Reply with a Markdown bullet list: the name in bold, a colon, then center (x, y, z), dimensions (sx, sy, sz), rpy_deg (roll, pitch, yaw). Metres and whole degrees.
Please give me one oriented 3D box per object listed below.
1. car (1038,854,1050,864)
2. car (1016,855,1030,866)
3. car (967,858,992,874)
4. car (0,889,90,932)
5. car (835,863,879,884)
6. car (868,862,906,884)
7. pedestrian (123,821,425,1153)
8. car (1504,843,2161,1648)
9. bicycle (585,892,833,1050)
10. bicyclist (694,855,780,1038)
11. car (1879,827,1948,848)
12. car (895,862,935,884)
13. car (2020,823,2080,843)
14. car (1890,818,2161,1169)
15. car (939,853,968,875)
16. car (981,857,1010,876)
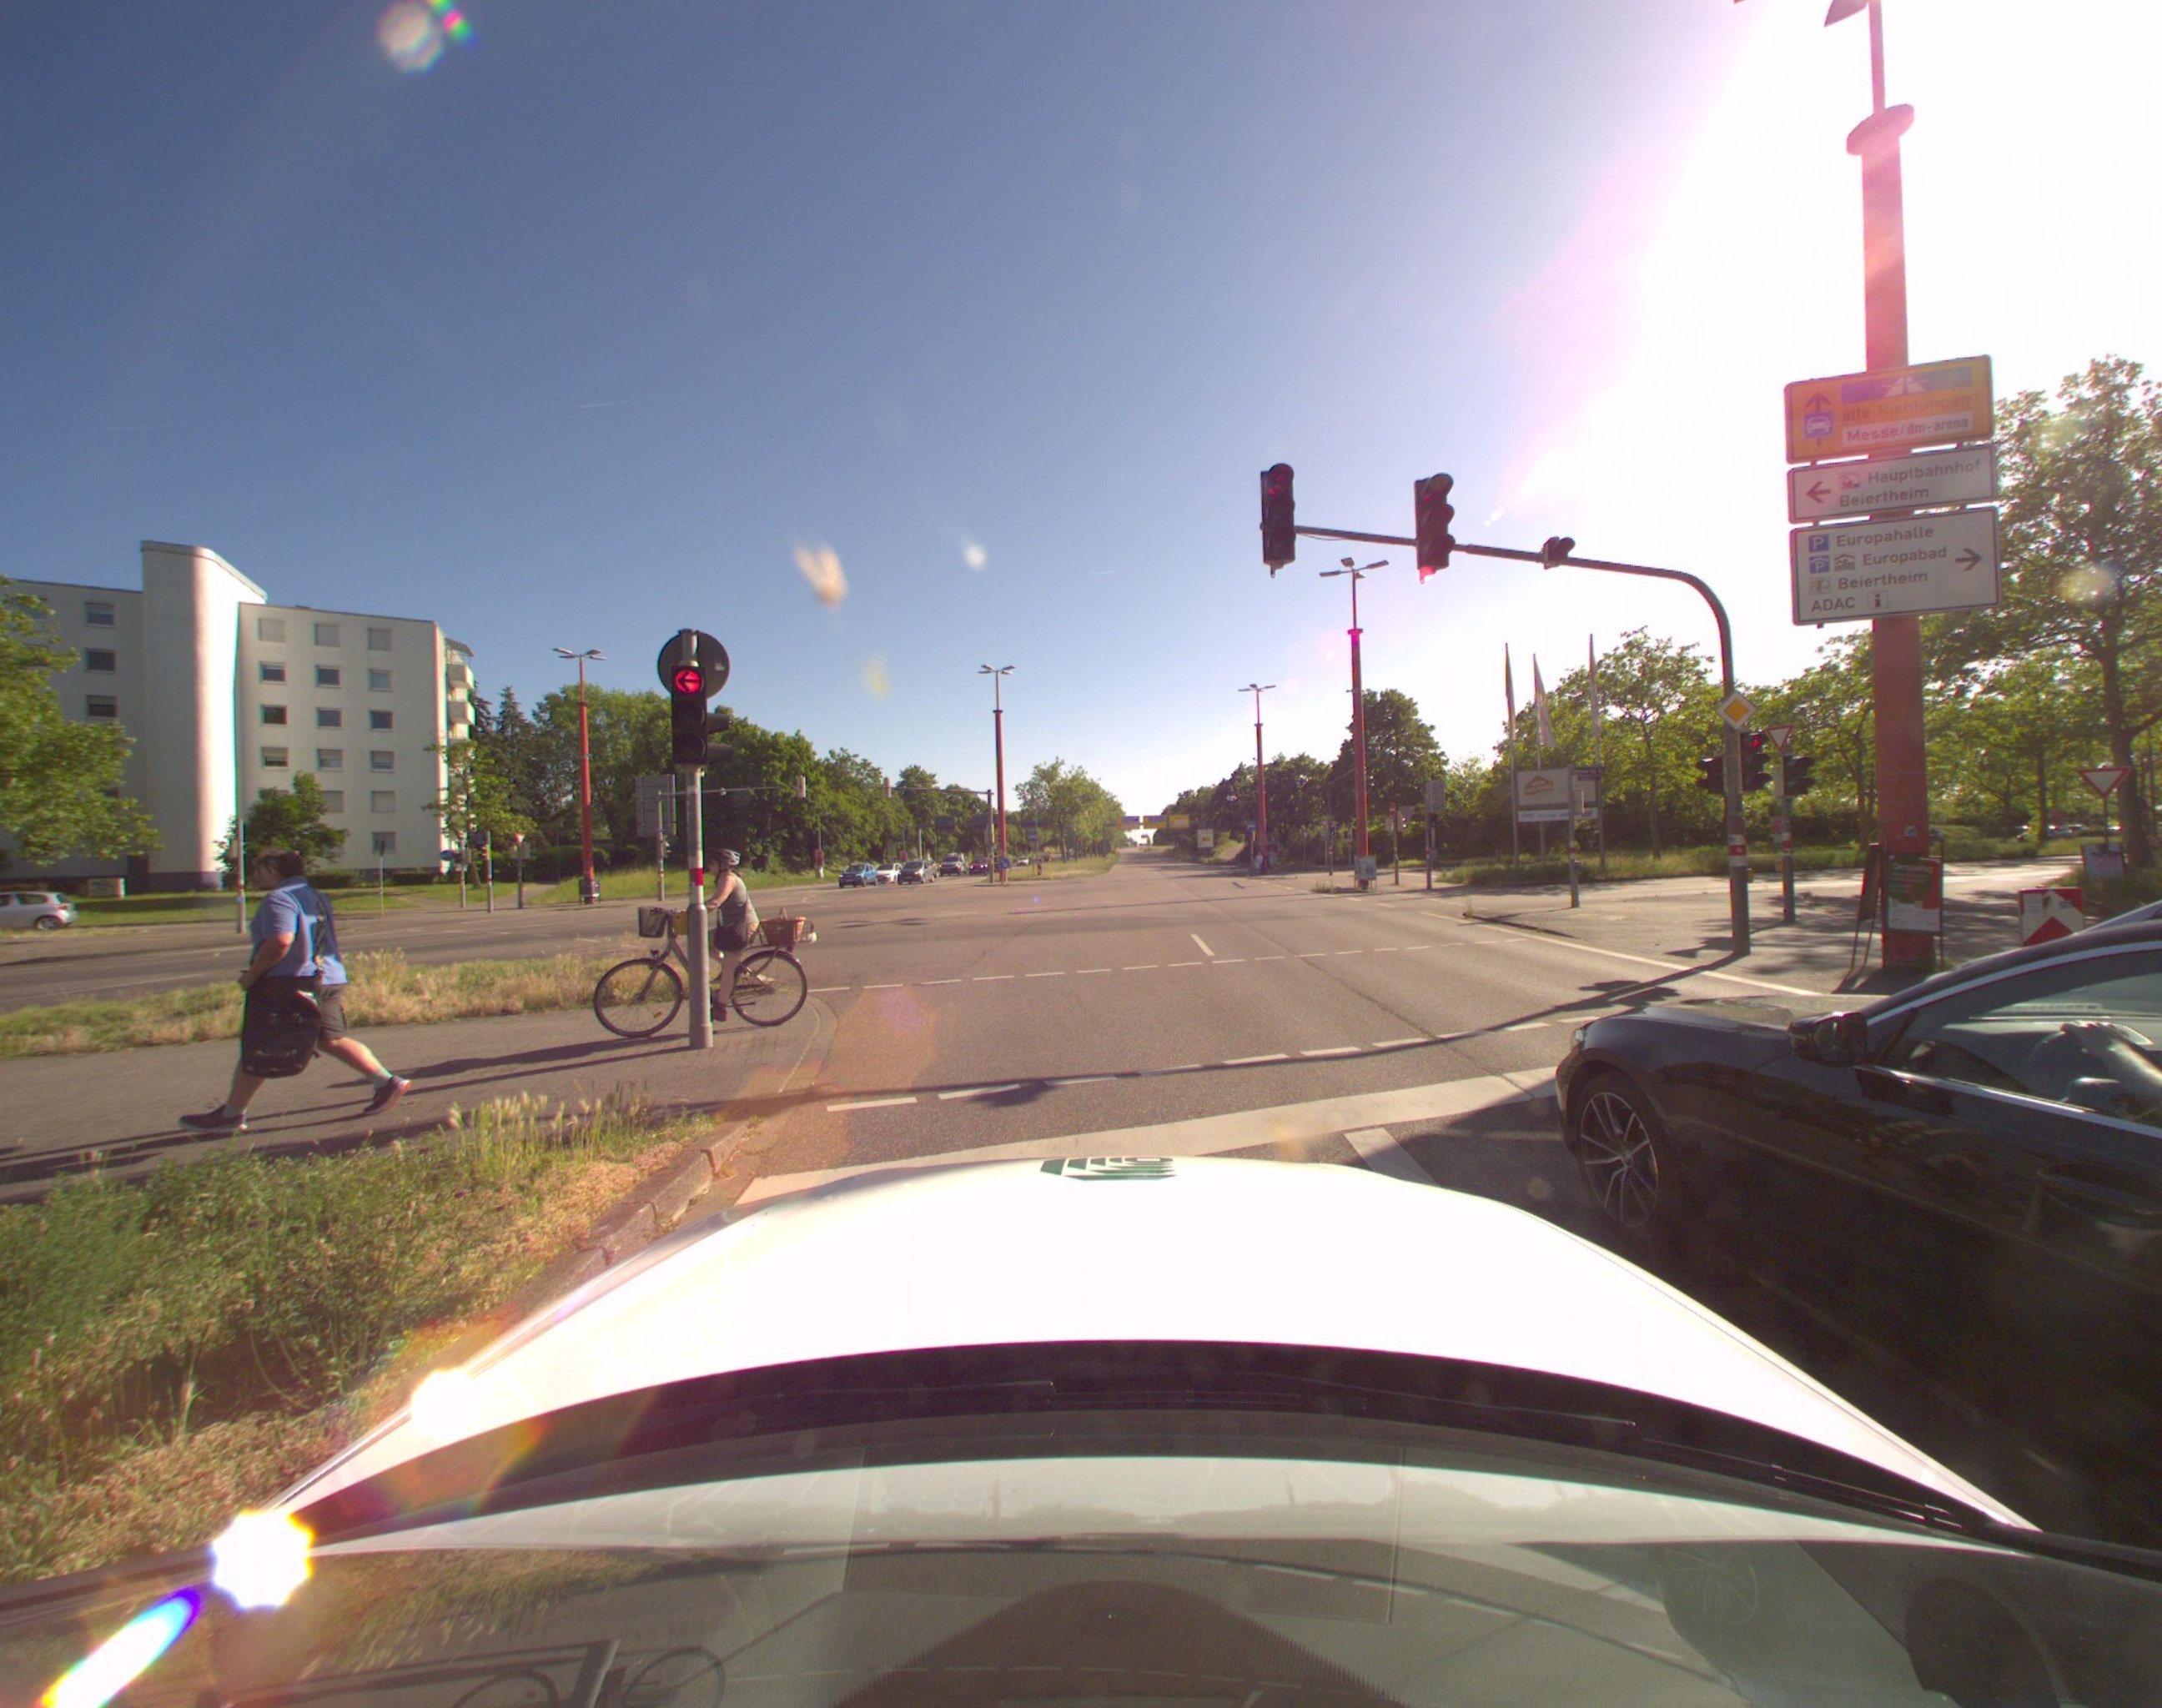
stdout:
- **car**: center (-6.483, 0.925, 142.393), dimensions (1.812, 1.629, 4.002), rpy_deg (-2, 0, 2)
- **car**: center (-9.401, 0.991, 131.421), dimensions (1.791, 1.640, 4.002), rpy_deg (-2, 0, 2)
- **car**: center (-9.146, 1.092, 73.567), dimensions (1.733, 1.362, 3.613), rpy_deg (-2, 0, 1)
- **car**: center (-39.090, 2.082, 29.405), dimensions (1.734, 1.398, 4.024), rpy_deg (-2, 0, 44)
- **car**: center (-14.094, 1.210, 51.417), dimensions (1.733, 1.243, 3.613), rpy_deg (-2, 0, 1)
- **car**: center (-13.677, 1.317, 57.526), dimensions (1.733, 1.411, 3.613), rpy_deg (-2, 0, 1)
- **pedestrian**: center (-4.887, 0.720, 5.047), dimensions (0.988, 1.794, 0.948), rpy_deg (-1, 0, -20)
- **car**: center (2.843, 0.687, 1.605), dimensions (1.862, 1.398, 4.446), rpy_deg (-2, 0, 3)
- **bicycle**: center (-3.354, 1.003, 7.468), dimensions (1.952, 1.195, 0.686), rpy_deg (-2, 0, -26)
- **bicyclist**: center (-3.196, 0.812, 7.553), dimensions (0.664, 1.584, 0.667), rpy_deg (-2, 0, -26)
- **car**: center (63.651, -1.271, 62.261), dimensions (4.322, 1.485, 1.776), rpy_deg (-2, 0, -15)
- **car**: center (-10.610, 1.187, 52.304), dimensions (1.733, 1.243, 3.613), rpy_deg (-2, 0, 1)
- **car**: center (78.552, -1.713, 66.029), dimensions (3.991, 1.467, 1.674), rpy_deg (-2, 0, -17)
- **car**: center (5.664, 0.601, 2.860), dimensions (1.732, 1.578, 4.032), rpy_deg (-2, 0, 3)
- **car**: center (-12.156, 0.953, 78.001), dimensions (1.886, 2.026, 5.224), rpy_deg (-2, 0, 1)
- **car**: center (-7.101, 1.003, 67.826), dimensions (1.812, 1.508, 4.002), rpy_deg (-2, 0, 2)
